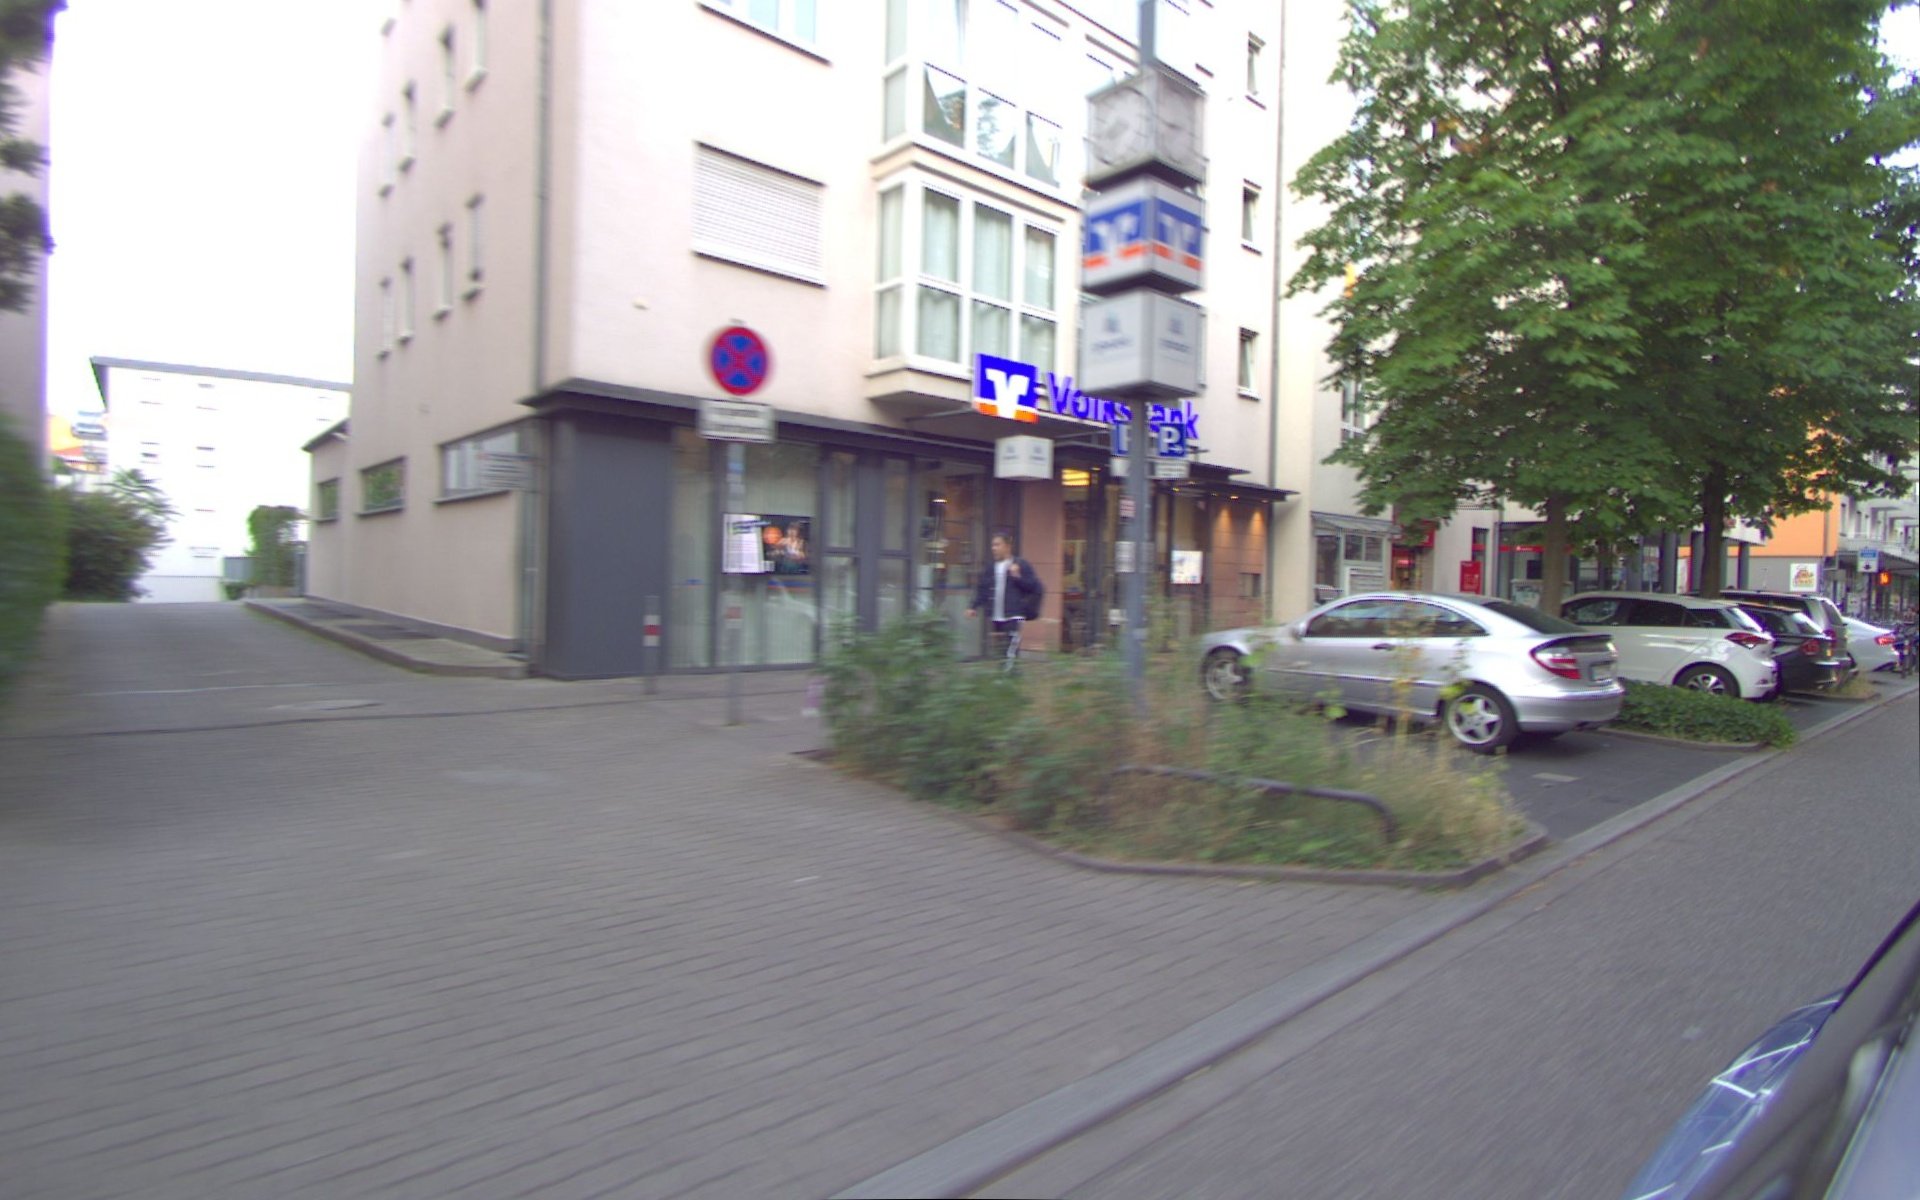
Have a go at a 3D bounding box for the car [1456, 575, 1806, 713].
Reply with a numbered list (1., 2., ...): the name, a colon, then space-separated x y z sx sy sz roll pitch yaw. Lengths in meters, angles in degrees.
1. car: 9.319 0.511 14.248 3.796 1.470 1.708 6 3 44

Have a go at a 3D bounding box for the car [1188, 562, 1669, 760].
1. car: 4.624 0.453 10.525 1.848 1.470 4.098 1 3 -39

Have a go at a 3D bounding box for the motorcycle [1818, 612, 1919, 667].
1. motorcycle: 20.771 0.886 22.829 2.051 1.091 0.656 4 3 34

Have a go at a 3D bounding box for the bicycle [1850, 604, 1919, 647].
1. bicycle: 27.411 0.734 29.741 0.694 1.131 1.728 0 3 -38

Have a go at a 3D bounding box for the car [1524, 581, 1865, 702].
1. car: 11.260 0.543 15.714 1.797 1.474 3.993 1 2 -43

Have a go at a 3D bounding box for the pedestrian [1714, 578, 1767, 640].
1. pedestrian: 23.080 0.246 29.946 0.899 1.744 0.773 4 1 12

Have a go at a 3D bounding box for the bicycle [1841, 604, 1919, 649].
1. bicycle: 26.210 0.749 28.650 0.695 1.131 1.812 0 3 -42

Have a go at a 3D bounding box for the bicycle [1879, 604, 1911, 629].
1. bicycle: 48.680 0.834 52.718 0.907 1.210 1.690 4 3 35

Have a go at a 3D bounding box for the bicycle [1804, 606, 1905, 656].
1. bicycle: 22.478 0.756 25.464 0.555 1.034 1.778 0 5 -38

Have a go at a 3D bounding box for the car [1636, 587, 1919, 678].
1. car: 16.859 0.593 21.021 4.424 1.473 1.752 5 3 43

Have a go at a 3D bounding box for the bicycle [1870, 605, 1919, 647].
1. bicycle: 27.108 0.754 28.793 0.695 1.131 1.725 0 3 -42

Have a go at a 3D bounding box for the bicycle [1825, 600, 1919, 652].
1. bicycle: 24.616 0.683 27.246 0.719 1.196 1.798 1 5 -30

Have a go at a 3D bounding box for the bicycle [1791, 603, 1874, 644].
1. bicycle: 25.693 0.682 29.828 0.641 1.066 1.728 0 3 -38

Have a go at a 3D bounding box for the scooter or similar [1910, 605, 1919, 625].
1. scooter or similar: 58.805 0.944 61.845 1.139 1.219 0.538 2 0 -15

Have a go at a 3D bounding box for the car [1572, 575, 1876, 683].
1. car: 14.644 0.460 19.617 1.716 1.668 4.408 1 3 -41

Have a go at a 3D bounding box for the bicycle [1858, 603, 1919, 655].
1. bicycle: 24.487 0.765 26.026 0.729 1.196 1.876 0 5 -36

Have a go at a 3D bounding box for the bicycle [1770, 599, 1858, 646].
1. bicycle: 23.153 0.591 27.462 0.643 1.131 1.724 0 3 -44

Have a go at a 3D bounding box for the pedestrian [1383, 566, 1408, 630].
1. pedestrian: 12.160 -0.056 28.267 0.579 1.775 0.624 0 0 16

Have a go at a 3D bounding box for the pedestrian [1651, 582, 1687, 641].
1. pedestrian: 21.334 0.344 30.462 0.655 1.745 0.660 3 0 22

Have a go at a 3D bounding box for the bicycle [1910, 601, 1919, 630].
1. bicycle: 39.355 0.682 40.512 0.644 1.148 1.948 2 3 -4

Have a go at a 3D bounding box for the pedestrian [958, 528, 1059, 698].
1. pedestrian: 0.540 0.116 11.031 0.722 1.737 0.955 3 2 26
